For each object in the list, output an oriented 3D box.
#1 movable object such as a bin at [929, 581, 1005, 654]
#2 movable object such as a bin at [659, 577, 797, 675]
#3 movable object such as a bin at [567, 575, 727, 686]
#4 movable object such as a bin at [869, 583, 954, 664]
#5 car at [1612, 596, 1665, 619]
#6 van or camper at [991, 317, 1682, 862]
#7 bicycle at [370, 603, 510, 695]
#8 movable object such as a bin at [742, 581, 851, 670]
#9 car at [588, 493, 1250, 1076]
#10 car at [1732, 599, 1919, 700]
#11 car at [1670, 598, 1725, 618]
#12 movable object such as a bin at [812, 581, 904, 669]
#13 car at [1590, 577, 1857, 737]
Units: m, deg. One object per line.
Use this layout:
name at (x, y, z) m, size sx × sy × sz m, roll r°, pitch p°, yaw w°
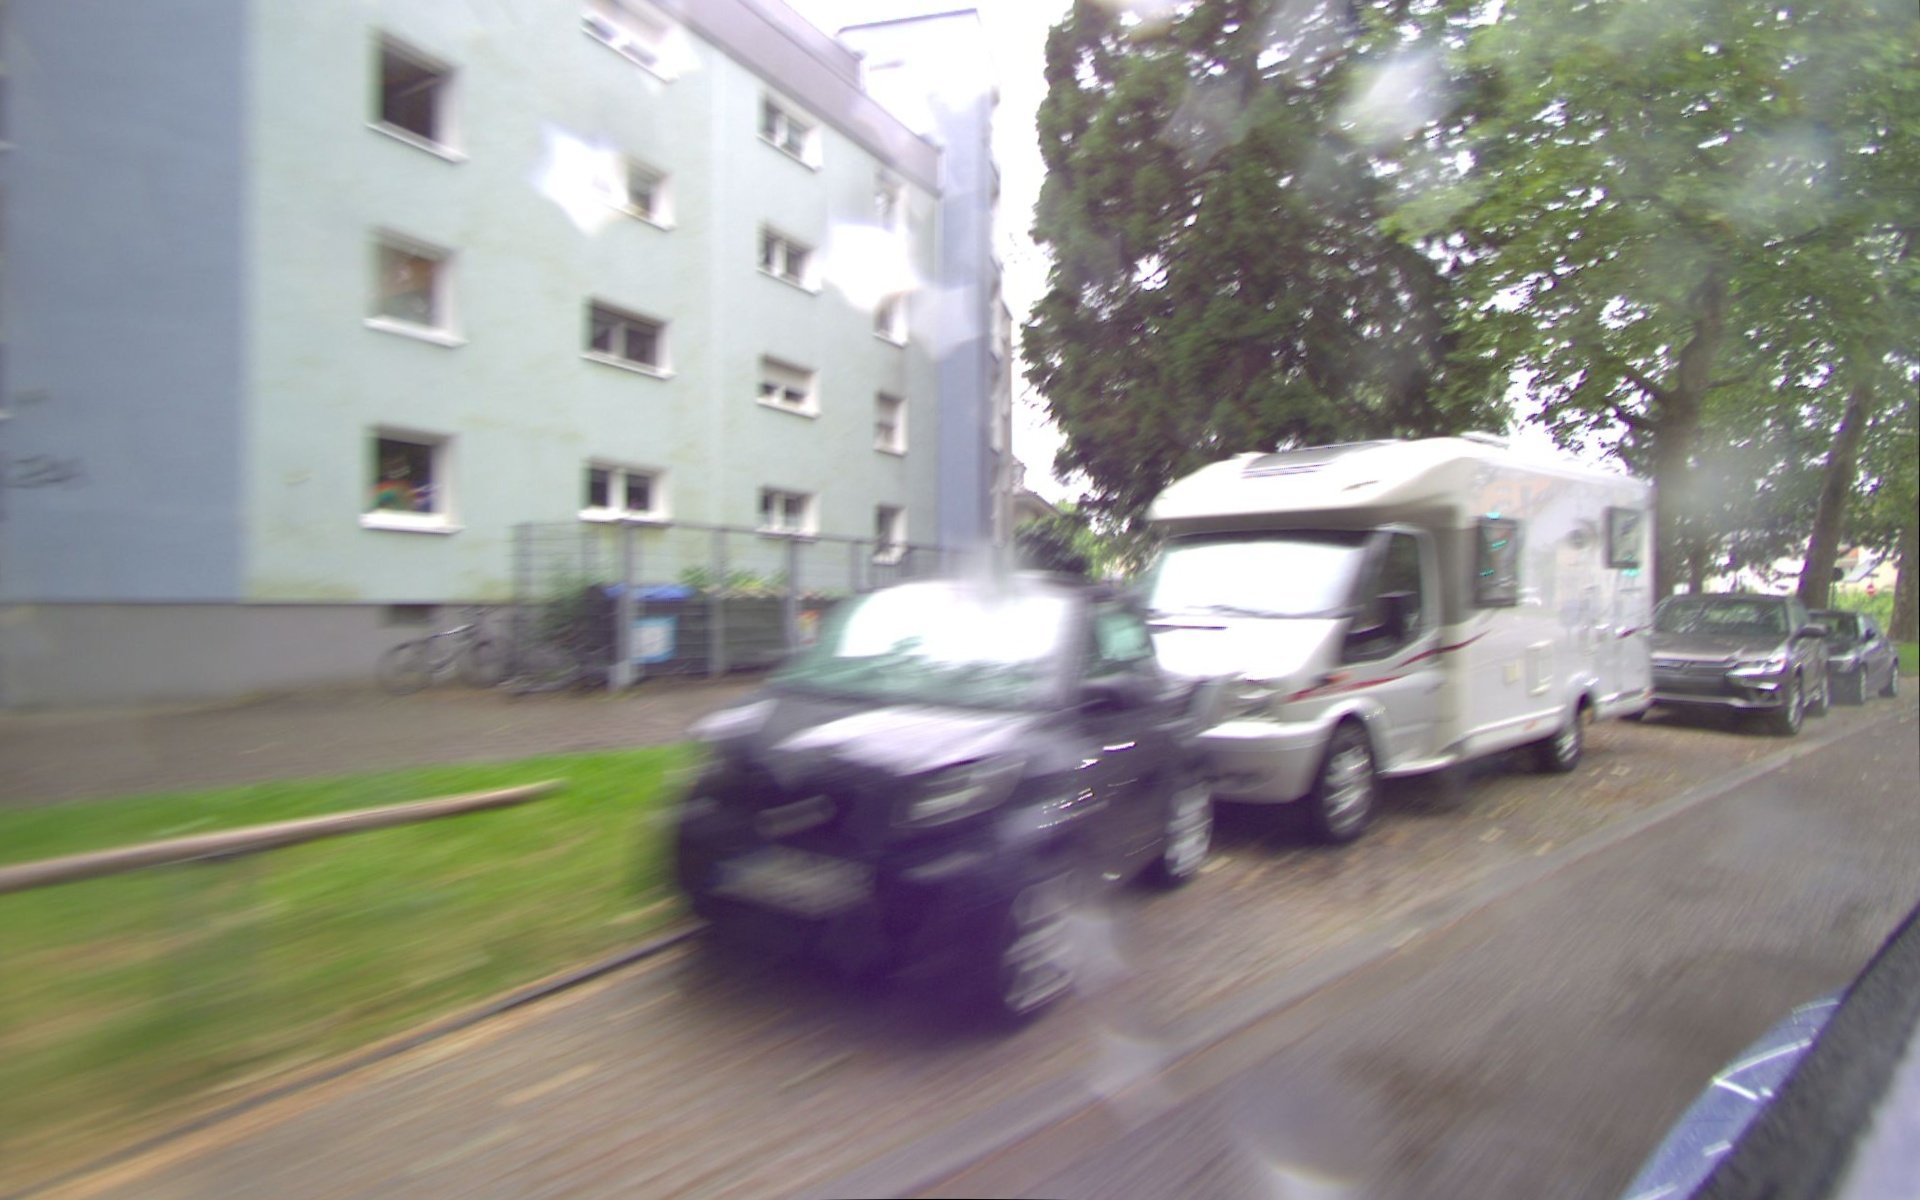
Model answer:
movable object such as a bin at (0.153, 0.375, 22.009) m, size 1.153 × 1.491 × 1.210 m, roll 3°, pitch 0°, yaw 30°
movable object such as a bin at (-3.644, 0.399, 16.012) m, size 1.206 × 1.451 × 1.842 m, roll -1°, pitch -1°, yaw 31°
movable object such as a bin at (-4.378, 0.413, 14.283) m, size 1.206 × 1.451 × 1.842 m, roll -1°, pitch -1°, yaw 31°
movable object such as a bin at (-0.954, 0.442, 20.059) m, size 1.153 × 1.491 × 1.210 m, roll 3°, pitch 0°, yaw 30°
car at (58.300, 0.663, 87.042) m, size 1.963 × 1.884 × 3.997 m, roll 0°, pitch -1°, yaw 2°
van or camper at (3.533, -0.042, 8.350) m, size 6.742 × 2.843 × 2.323 m, roll 0°, pitch -1°, yaw -40°
bicycle at (-6.820, 0.615, 13.342) m, size 0.390 × 1.096 × 1.648 m, roll 1°, pitch 2°, yaw 36°
movable object such as a bin at (-2.792, 0.427, 17.403) m, size 1.310 × 1.451 × 1.355 m, roll -1°, pitch -2°, yaw 31°
car at (0.068, 0.553, 4.615) m, size 1.679 × 1.674 × 2.912 m, roll -1°, pitch -1°, yaw 32°
car at (13.757, 0.722, 16.006) m, size 4.075 × 1.408 × 1.552 m, roll 1°, pitch -2°, yaw -39°
car at (63.298, 0.706, 86.919) m, size 1.874 × 1.705 × 3.996 m, roll 0°, pitch -1°, yaw 2°
movable object such as a bin at (-1.860, 0.439, 18.565) m, size 1.153 × 1.491 × 1.210 m, roll 3°, pitch 0°, yaw 30°
car at (9.656, 0.570, 12.661) m, size 4.379 × 1.641 × 1.917 m, roll -1°, pitch 0°, yaw -43°
